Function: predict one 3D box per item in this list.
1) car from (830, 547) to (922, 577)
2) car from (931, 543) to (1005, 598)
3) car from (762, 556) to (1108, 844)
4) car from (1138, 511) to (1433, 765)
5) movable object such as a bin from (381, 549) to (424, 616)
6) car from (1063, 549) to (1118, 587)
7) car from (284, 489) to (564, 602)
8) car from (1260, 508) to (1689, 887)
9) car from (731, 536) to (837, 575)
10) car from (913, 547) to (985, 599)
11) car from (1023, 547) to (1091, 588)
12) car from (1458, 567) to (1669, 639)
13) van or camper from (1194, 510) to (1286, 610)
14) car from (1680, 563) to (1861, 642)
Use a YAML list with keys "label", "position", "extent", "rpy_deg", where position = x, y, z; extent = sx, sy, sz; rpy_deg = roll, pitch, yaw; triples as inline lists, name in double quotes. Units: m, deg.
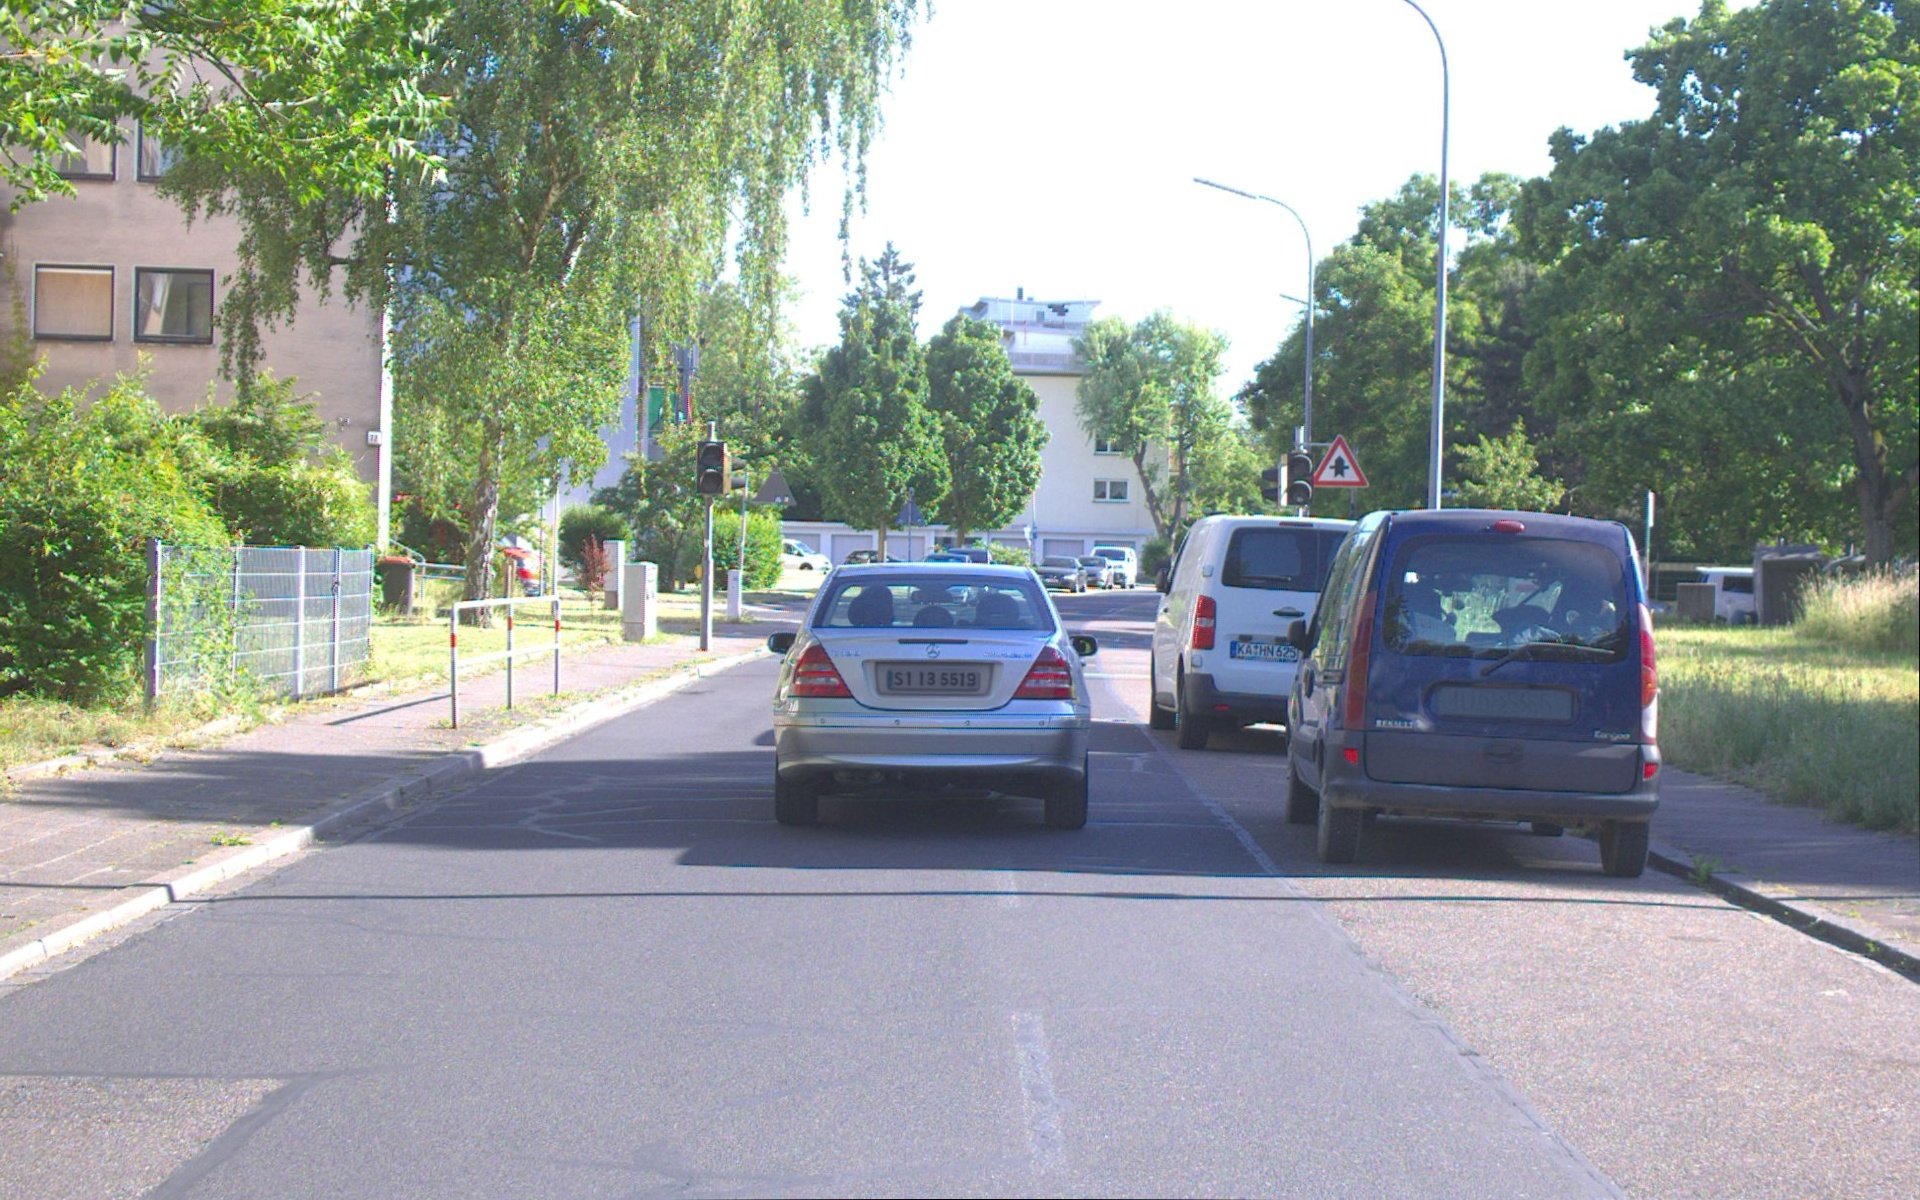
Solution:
- label: "car"
  position: [-4.409, -2.003, 181.350]
  extent: [4.445, 1.456, 2.042]
  rpy_deg: [1, 1, 16]
- label: "car"
  position: [0.273, -0.959, 110.015]
  extent: [1.914, 1.598, 4.811]
  rpy_deg: [4, 1, 4]
- label: "car"
  position: [-0.159, 0.488, 19.214]
  extent: [1.733, 1.429, 3.438]
  rpy_deg: [1, 1, -1]
- label: "car"
  position: [2.624, 0.255, 28.791]
  extent: [1.915, 1.865, 4.865]
  rpy_deg: [3, 1, 0]
- label: "movable object such as a bin"
  position: [-8.882, -0.284, 54.771]
  extent: [0.563, 1.050, 0.557]
  rpy_deg: [1, 0, -19]
- label: "car"
  position: [5.748, -1.393, 151.264]
  extent: [1.834, 1.513, 4.220]
  rpy_deg: [3, 1, 9]
- label: "car"
  position: [-12.045, -1.240, 77.462]
  extent: [5.905, 2.420, 2.213]
  rpy_deg: [1, 2, 3]
- label: "car"
  position: [2.611, 0.428, 18.311]
  extent: [1.698, 1.724, 4.084]
  rpy_deg: [2, 1, 1]
- label: "car"
  position: [-9.354, -2.371, 182.689]
  extent: [5.109, 1.944, 2.235]
  rpy_deg: [1, 1, 17]
- label: "car"
  position: [-0.312, -0.824, 103.544]
  extent: [1.647, 1.461, 4.330]
  rpy_deg: [2, 1, 6]
- label: "car"
  position: [3.944, -1.315, 138.570]
  extent: [2.035, 1.487, 5.254]
  rpy_deg: [4, 1, 8]
- label: "car"
  position: [13.129, 0.058, 74.961]
  extent: [4.426, 1.333, 1.745]
  rpy_deg: [2, 2, 8]
- label: "van or camper"
  position: [7.695, -1.090, 94.238]
  extent: [2.352, 2.587, 6.424]
  rpy_deg: [-2, 1, 5]
- label: "car"
  position: [17.487, 0.044, 74.306]
  extent: [3.686, 1.572, 1.827]
  rpy_deg: [2, 1, 11]
